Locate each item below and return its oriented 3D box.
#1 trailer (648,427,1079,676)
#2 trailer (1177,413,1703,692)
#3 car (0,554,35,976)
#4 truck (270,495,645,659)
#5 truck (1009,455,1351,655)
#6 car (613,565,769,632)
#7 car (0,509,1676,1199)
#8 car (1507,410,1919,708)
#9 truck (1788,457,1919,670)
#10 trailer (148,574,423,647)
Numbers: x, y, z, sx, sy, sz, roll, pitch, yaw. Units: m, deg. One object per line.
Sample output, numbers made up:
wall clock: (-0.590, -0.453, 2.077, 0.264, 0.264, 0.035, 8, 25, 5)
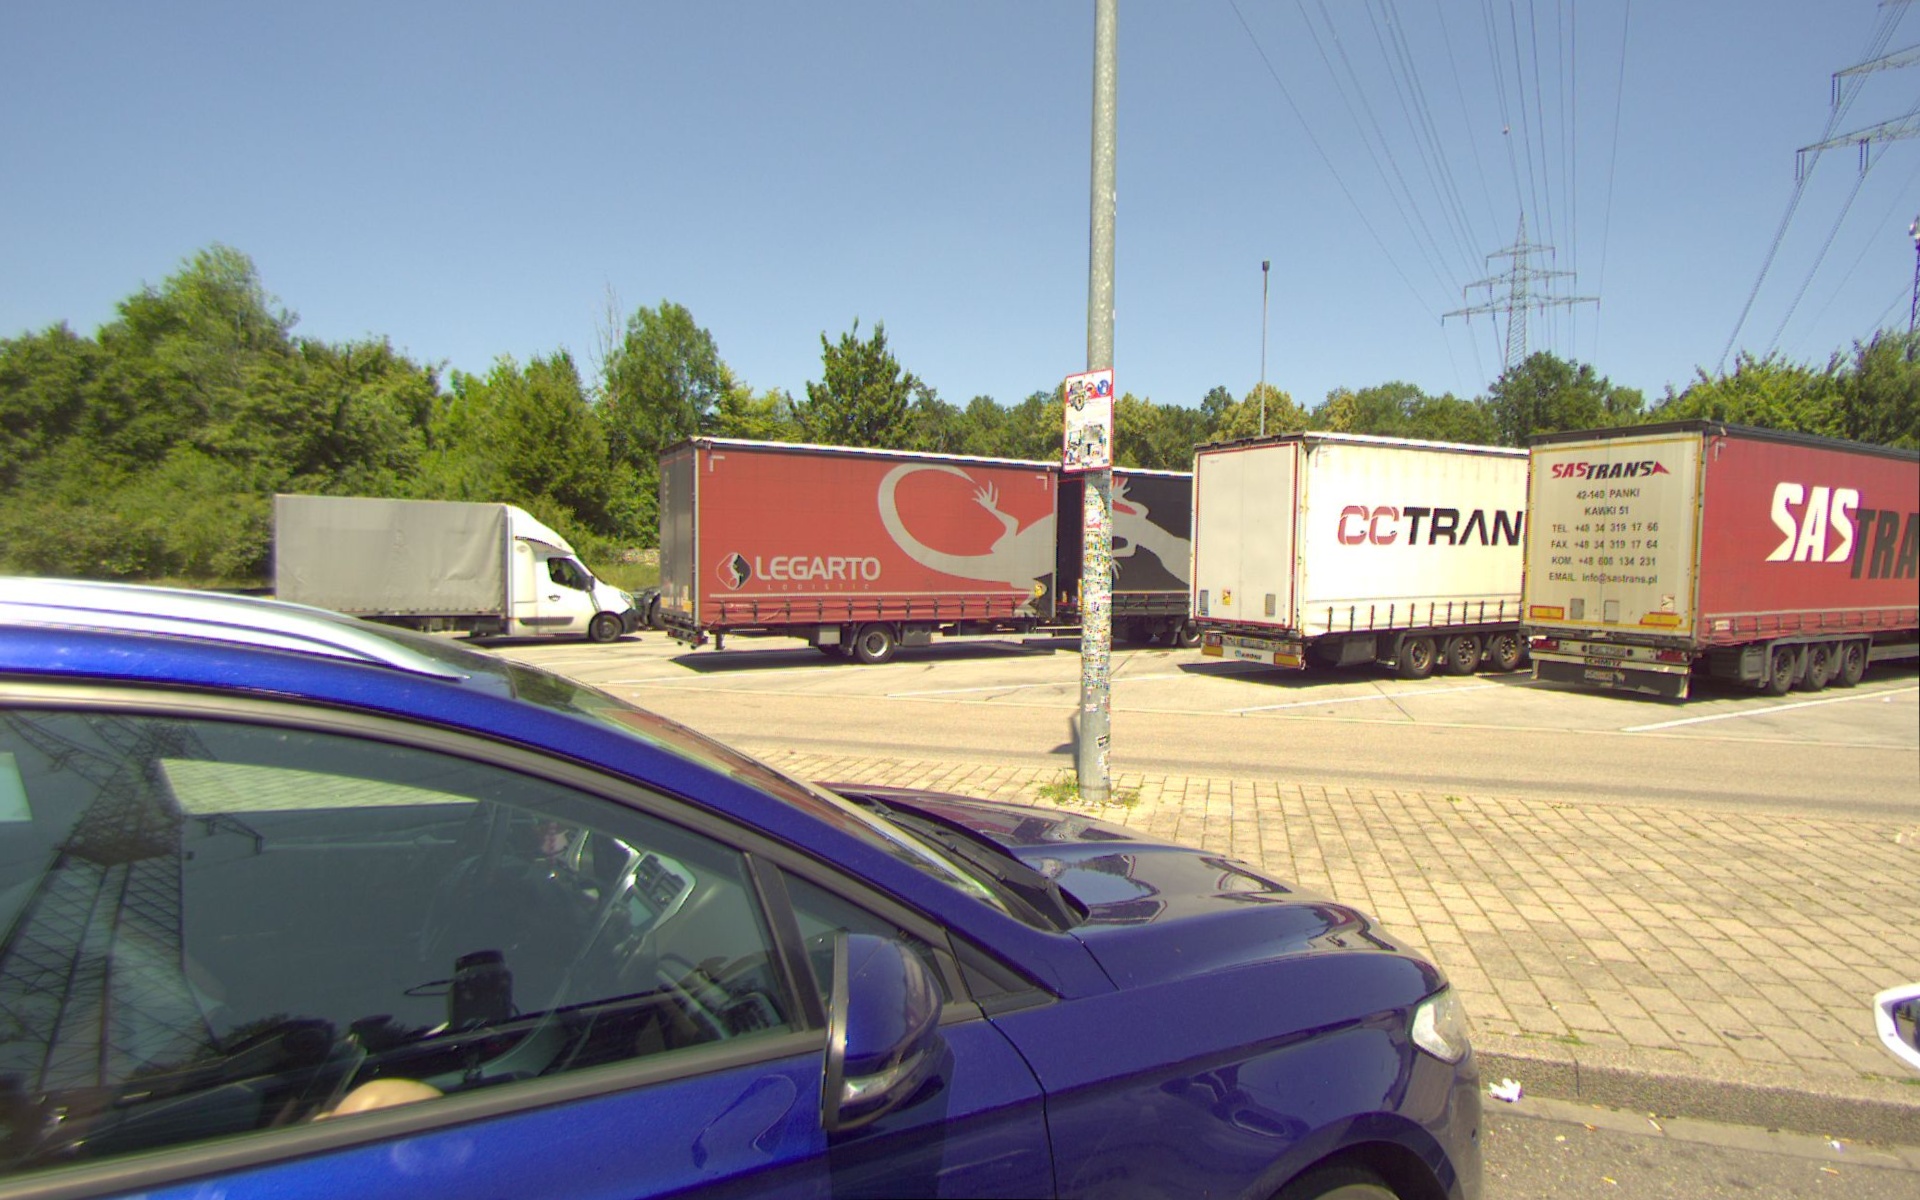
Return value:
trailer: (-1.762, -0.926, 20.493, 8.389, 4.248, 2.800, -1, 2, -30)
trailer: (10.093, -0.879, 20.054, 12.786, 4.325, 2.800, -1, 2, -31)
car: (-4.632, 0.553, 2.104, 3.700, 1.432, 1.595, 0, 0, -32)
truck: (-11.133, -0.581, 22.863, 7.219, 3.277, 2.308, -2, 3, -29)
truck: (5.585, -1.073, 24.816, 8.683, 4.248, 2.800, -1, 2, -30)
car: (-7.622, -0.041, 28.505, 3.953, 1.773, 1.902, 0, 0, -30)
car: (-1.006, 0.667, 1.453, 4.380, 1.464, 1.771, 0, 0, -32)
car: (15.198, -0.690, 18.440, 12.777, 4.169, 2.683, -1, 3, -30)
truck: (21.124, -0.770, 21.851, 6.163, 4.169, 2.683, -1, 3, -30)
trailer: (-15.968, 0.246, 24.170, 5.332, 1.617, 1.585, 0, 0, -30)
